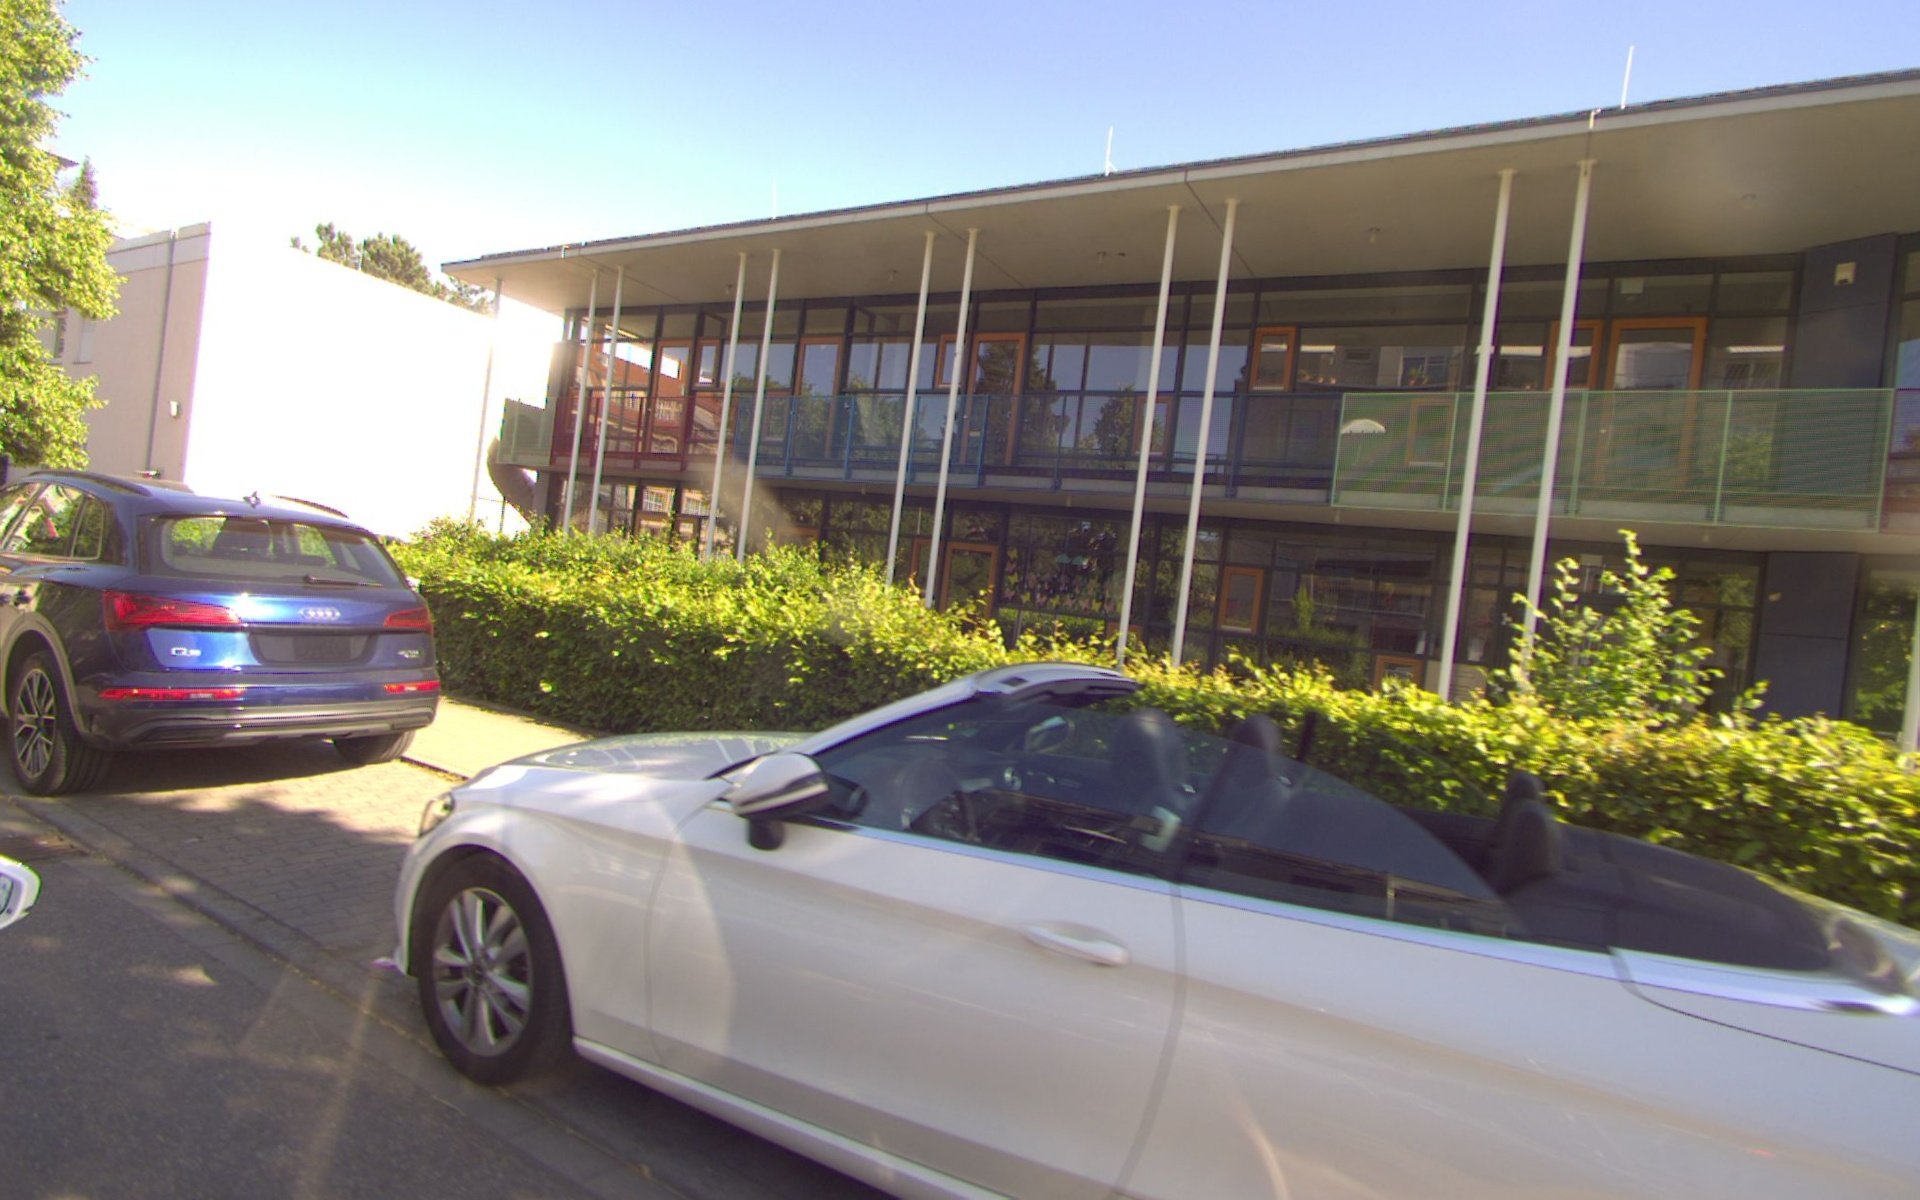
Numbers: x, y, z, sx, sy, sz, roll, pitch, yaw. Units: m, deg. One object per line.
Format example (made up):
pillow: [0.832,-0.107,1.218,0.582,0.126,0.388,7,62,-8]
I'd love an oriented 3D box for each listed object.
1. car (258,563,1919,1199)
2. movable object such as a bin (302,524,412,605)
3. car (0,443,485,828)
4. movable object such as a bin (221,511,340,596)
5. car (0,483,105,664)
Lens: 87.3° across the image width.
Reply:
car: [0.291,0.817,2.998,4.693,1.337,1.964,7,2,28]
movable object such as a bin: [-12.926,-0.757,21.575,1.604,1.466,1.331,7,0,32]
car: [-5.261,0.006,6.430,4.338,1.704,1.901,7,1,32]
movable object such as a bin: [-13.822,-0.943,20.465,1.604,1.466,1.368,7,0,32]
car: [-9.801,-0.421,9.308,3.782,1.523,1.677,7,1,31]
